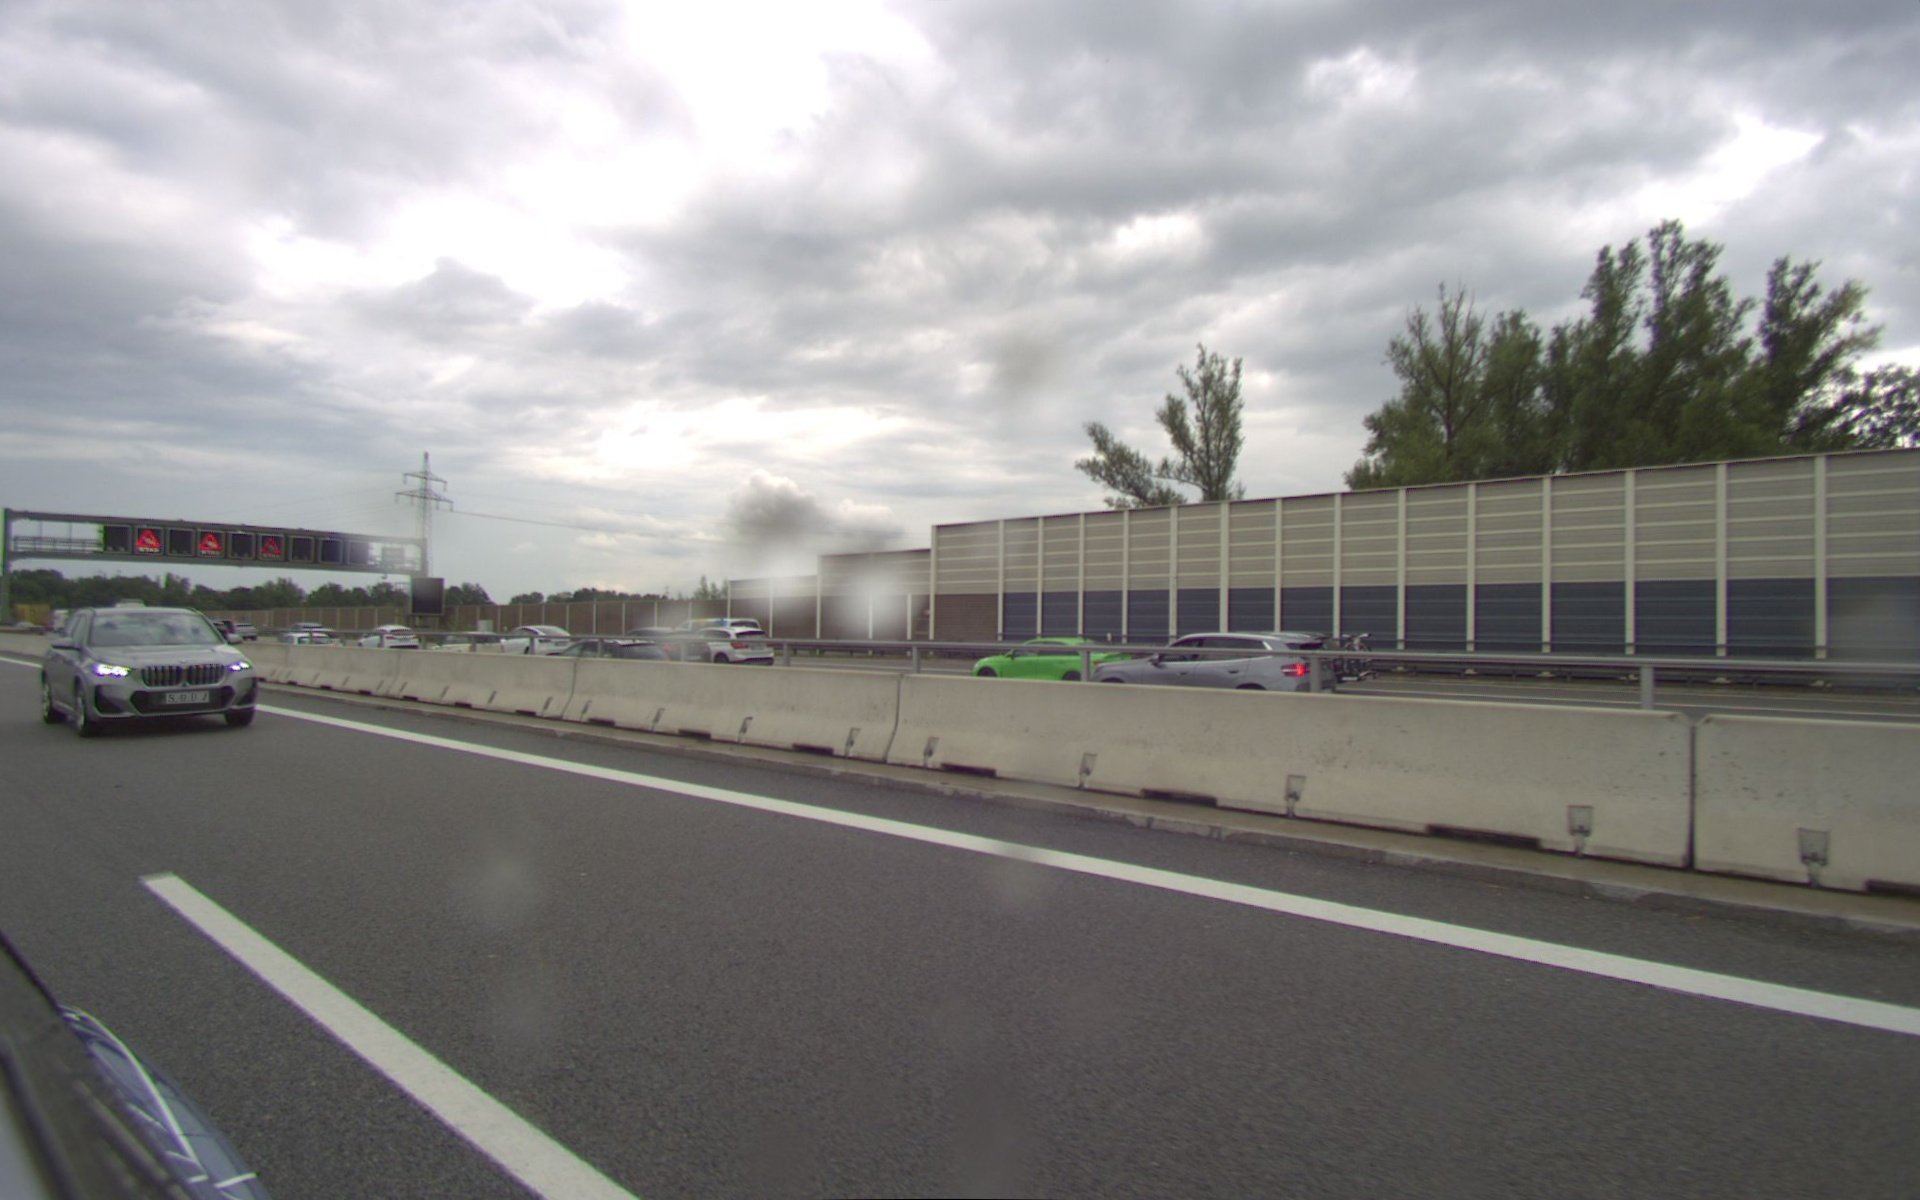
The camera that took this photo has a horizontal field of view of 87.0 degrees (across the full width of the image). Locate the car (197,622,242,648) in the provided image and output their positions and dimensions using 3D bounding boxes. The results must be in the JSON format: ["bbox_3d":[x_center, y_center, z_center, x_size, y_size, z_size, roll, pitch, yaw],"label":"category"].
[{"bbox_3d":[-55.545,2.623,75.878,4.162,1.862,1.730,-2,-2,40],"label":"car"}]

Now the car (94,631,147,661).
[{"bbox_3d":[-52.265,2.823,62.977,5.109,1.758,1.860,-2,-2,43],"label":"car"}]

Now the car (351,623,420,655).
[{"bbox_3d":[-30.570,2.060,53.829,4.388,1.643,1.730,-2,-2,40],"label":"car"}]

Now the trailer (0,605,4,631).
[{"bbox_3d":[-150.819,2.896,156.303,14.285,3.991,2.857,-2,-1,40],"label":"trailer"}]

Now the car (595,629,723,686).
[{"bbox_3d":[-9.379,1.730,31.433,4.176,1.623,1.914,-2,-2,41],"label":"car"}]

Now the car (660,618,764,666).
[{"bbox_3d":[-10.328,1.717,41.964,4.779,1.908,1.729,-2,-2,40],"label":"car"}]

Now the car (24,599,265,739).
[{"bbox_3d":[-11.498,0.863,14.131,4.912,1.637,1.817,-2,-1,41],"label":"car"}]

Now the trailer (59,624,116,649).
[{"bbox_3d":[-61.159,2.532,70.897,6.043,1.722,2.122,-1,-2,41],"label":"trailer"}]

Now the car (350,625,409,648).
[{"bbox_3d":[-37.859,2.363,65.960,4.569,1.411,1.845,-2,-2,39],"label":"car"}]

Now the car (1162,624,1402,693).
[{"bbox_3d":[8.132,1.437,26.065,5.686,1.623,1.729,-2,-2,42],"label":"car"}]

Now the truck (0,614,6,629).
[{"bbox_3d":[-125.379,2.788,130.917,5.540,2.015,2.221,-1,-2,40],"label":"truck"}]

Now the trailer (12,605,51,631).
[{"bbox_3d":[-143.487,2.853,156.376,12.967,3.963,2.997,-1,-2,41],"label":"trailer"}]

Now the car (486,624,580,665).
[{"bbox_3d":[-18.380,1.884,43.472,4.640,1.643,1.730,-2,-2,39],"label":"car"}]

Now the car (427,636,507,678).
[{"bbox_3d":[-19.583,2.232,40.169,3.617,1.592,1.604,-2,-2,41],"label":"car"}]

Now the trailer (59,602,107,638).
[{"bbox_3d":[-79.320,1.850,91.509,6.047,3.162,2.424,-2,-2,41],"label":"trailer"}]

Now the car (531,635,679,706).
[{"bbox_3d":[-8.984,1.714,25.464,4.176,1.620,1.729,-2,-2,41],"label":"car"}]

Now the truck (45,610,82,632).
[{"bbox_3d":[-117.968,2.738,133.120,7.830,2.835,2.663,-1,-2,41],"label":"truck"}]

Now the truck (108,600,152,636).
[{"bbox_3d":[-91.995,2.027,112.144,6.047,3.917,2.724,-2,-2,41],"label":"truck"}]

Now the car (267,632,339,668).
[{"bbox_3d":[-26.734,2.005,41.158,3.574,1.404,1.555,-2,-2,41],"label":"car"}]

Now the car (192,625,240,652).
[{"bbox_3d":[-48.219,2.475,65.570,4.165,1.643,1.728,-2,-2,43],"label":"car"}]

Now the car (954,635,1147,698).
[{"bbox_3d":[2.201,1.615,25.547,4.711,1.441,1.730,-2,-2,40],"label":"car"}]

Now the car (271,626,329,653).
[{"bbox_3d":[-41.498,2.489,63.603,4.522,1.643,1.803,-2,-2,40],"label":"car"}]

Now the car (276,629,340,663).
[{"bbox_3d":[-33.242,2.297,51.553,4.165,1.643,1.728,-2,-2,43],"label":"car"}]

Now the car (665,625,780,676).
[{"bbox_3d":[-8.123,1.675,34.409,4.176,1.623,1.729,-2,-2,41],"label":"car"}]

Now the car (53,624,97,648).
[{"bbox_3d":[-65.203,2.647,74.522,4.804,1.722,1.797,-1,-2,41],"label":"car"}]

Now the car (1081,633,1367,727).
[{"bbox_3d":[4.775,1.383,18.873,4.925,1.537,1.729,-2,-2,42],"label":"car"}]

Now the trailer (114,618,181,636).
[{"bbox_3d":[-85.891,2.866,106.787,16.340,1.842,2.724,-2,-2,41],"label":"trailer"}]
